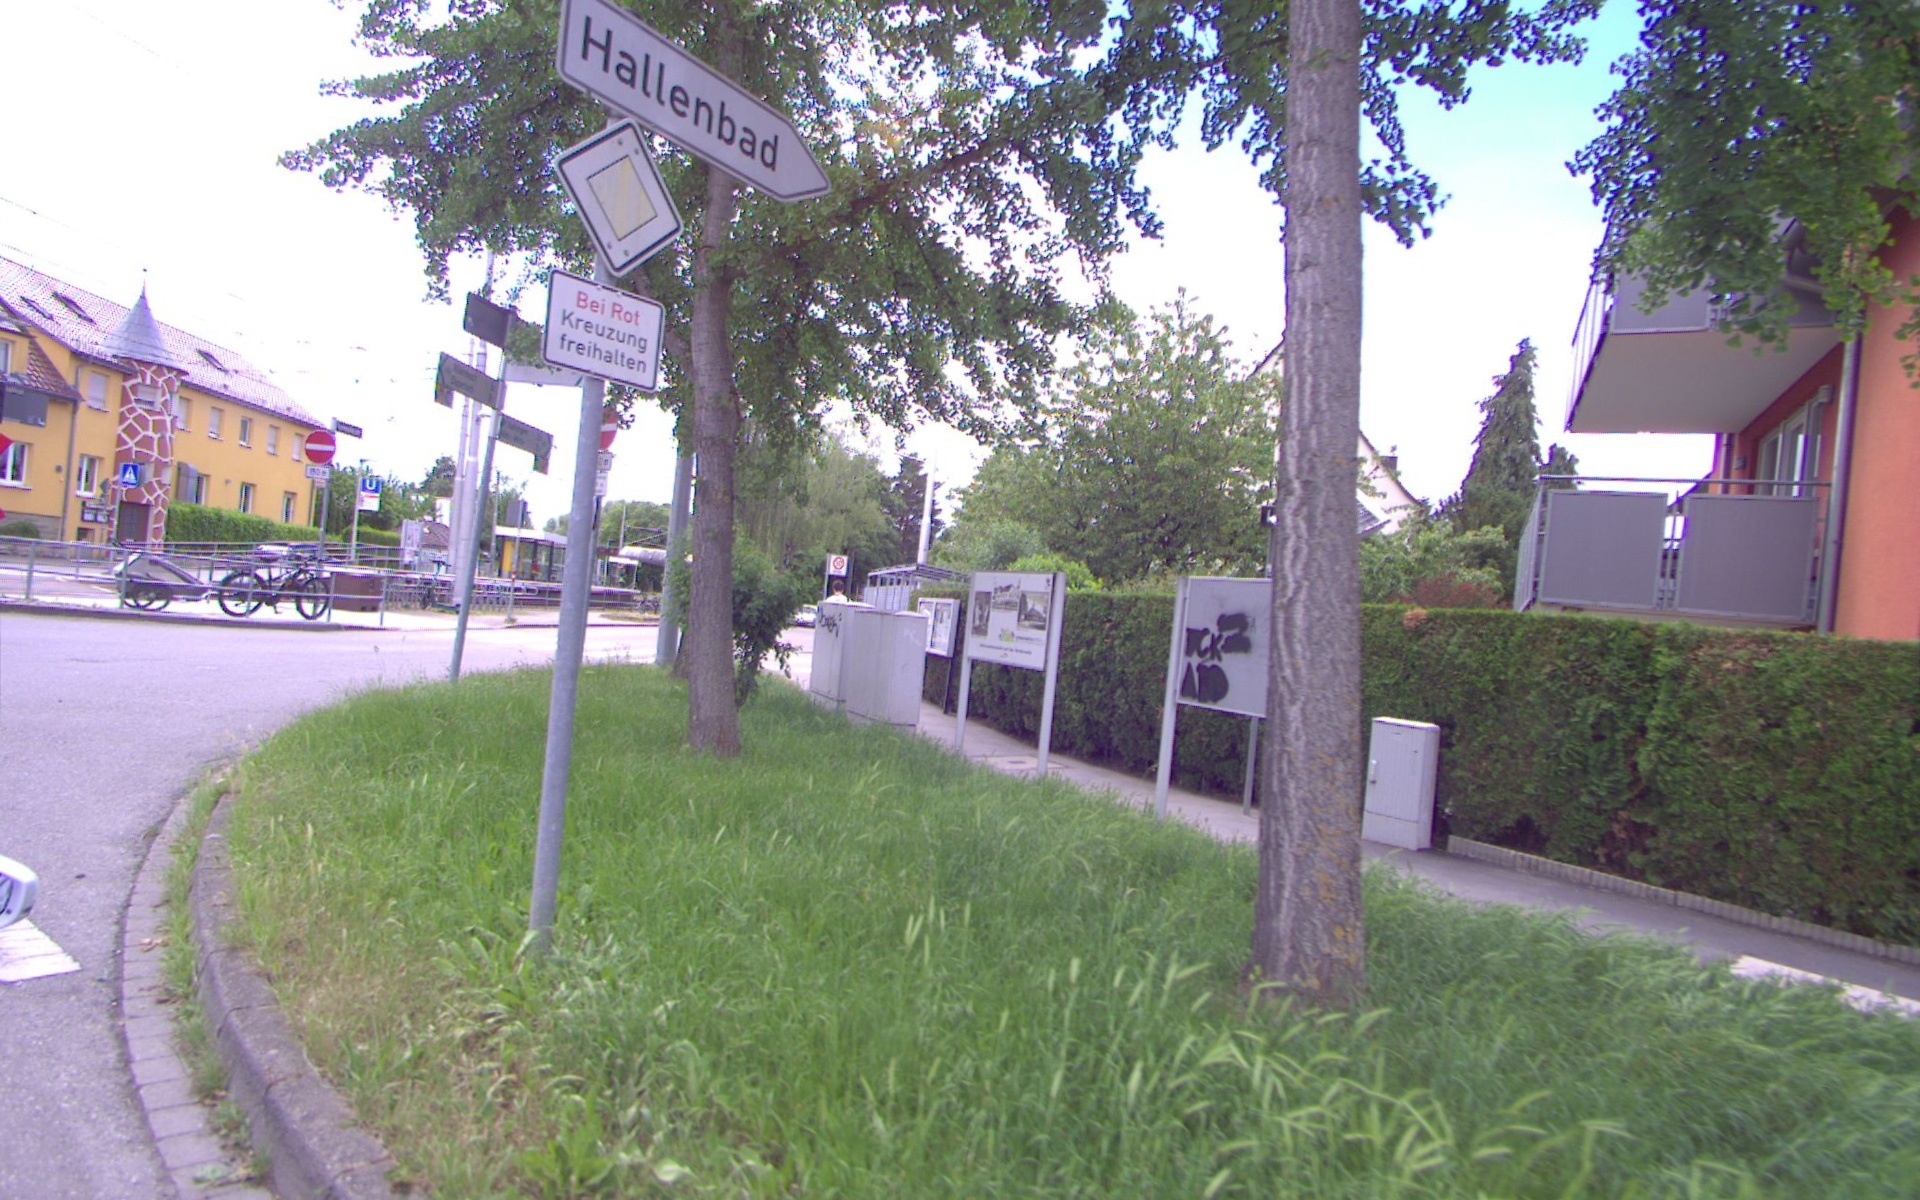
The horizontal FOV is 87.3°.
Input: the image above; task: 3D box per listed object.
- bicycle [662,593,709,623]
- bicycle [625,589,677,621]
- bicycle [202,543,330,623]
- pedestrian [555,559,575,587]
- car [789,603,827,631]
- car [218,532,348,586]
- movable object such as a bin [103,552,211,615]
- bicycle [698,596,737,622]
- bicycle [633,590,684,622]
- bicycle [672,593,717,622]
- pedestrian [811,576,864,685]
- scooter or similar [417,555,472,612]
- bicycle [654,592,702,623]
[{"bbox_3d":[-11.635,0.336,42.654,1.737,1.054,0.557,6,0,1],"label":"bicycle"},{"bbox_3d":[-11.828,0.192,38.564,1.737,1.054,0.557,6,0,1],"label":"bicycle"},{"bbox_3d":[-11.443,-0.252,16.652,0.458,1.170,1.692,6,-1,23],"label":"bicycle"},{"bbox_3d":[-25.745,-1.742,65.527,0.873,1.691,0.908,6,0,-8],"label":"pedestrian"},{"bbox_3d":[-9.838,1.110,65.593,2.033,1.593,4.258,6,-1,-5],"label":"car"},{"bbox_3d":[-27.243,-1.594,40.680,2.321,1.582,4.373,7,-2,-4],"label":"car"},{"bbox_3d":[-12.210,-0.239,15.313,0.569,0.834,1.094,6,-1,27],"label":"movable object such as a bin"},{"bbox_3d":[-11.885,0.435,49.308,1.740,1.054,0.556,6,0,-8],"label":"bicycle"},{"bbox_3d":[-11.811,0.241,39.468,1.737,1.054,0.557,6,0,1],"label":"bicycle"},{"bbox_3d":[-11.658,0.329,44.239,1.737,1.054,0.557,6,0,1],"label":"bicycle"},{"bbox_3d":[-2.313,0.558,18.881,0.617,1.939,0.826,5,1,-23],"label":"pedestrian"},{"bbox_3d":[-13.033,-0.423,25.437,1.031,1.333,0.489,5,1,2],"label":"scooter or similar"},{"bbox_3d":[-11.692,0.313,41.754,1.737,1.054,0.557,6,0,1],"label":"bicycle"}]
